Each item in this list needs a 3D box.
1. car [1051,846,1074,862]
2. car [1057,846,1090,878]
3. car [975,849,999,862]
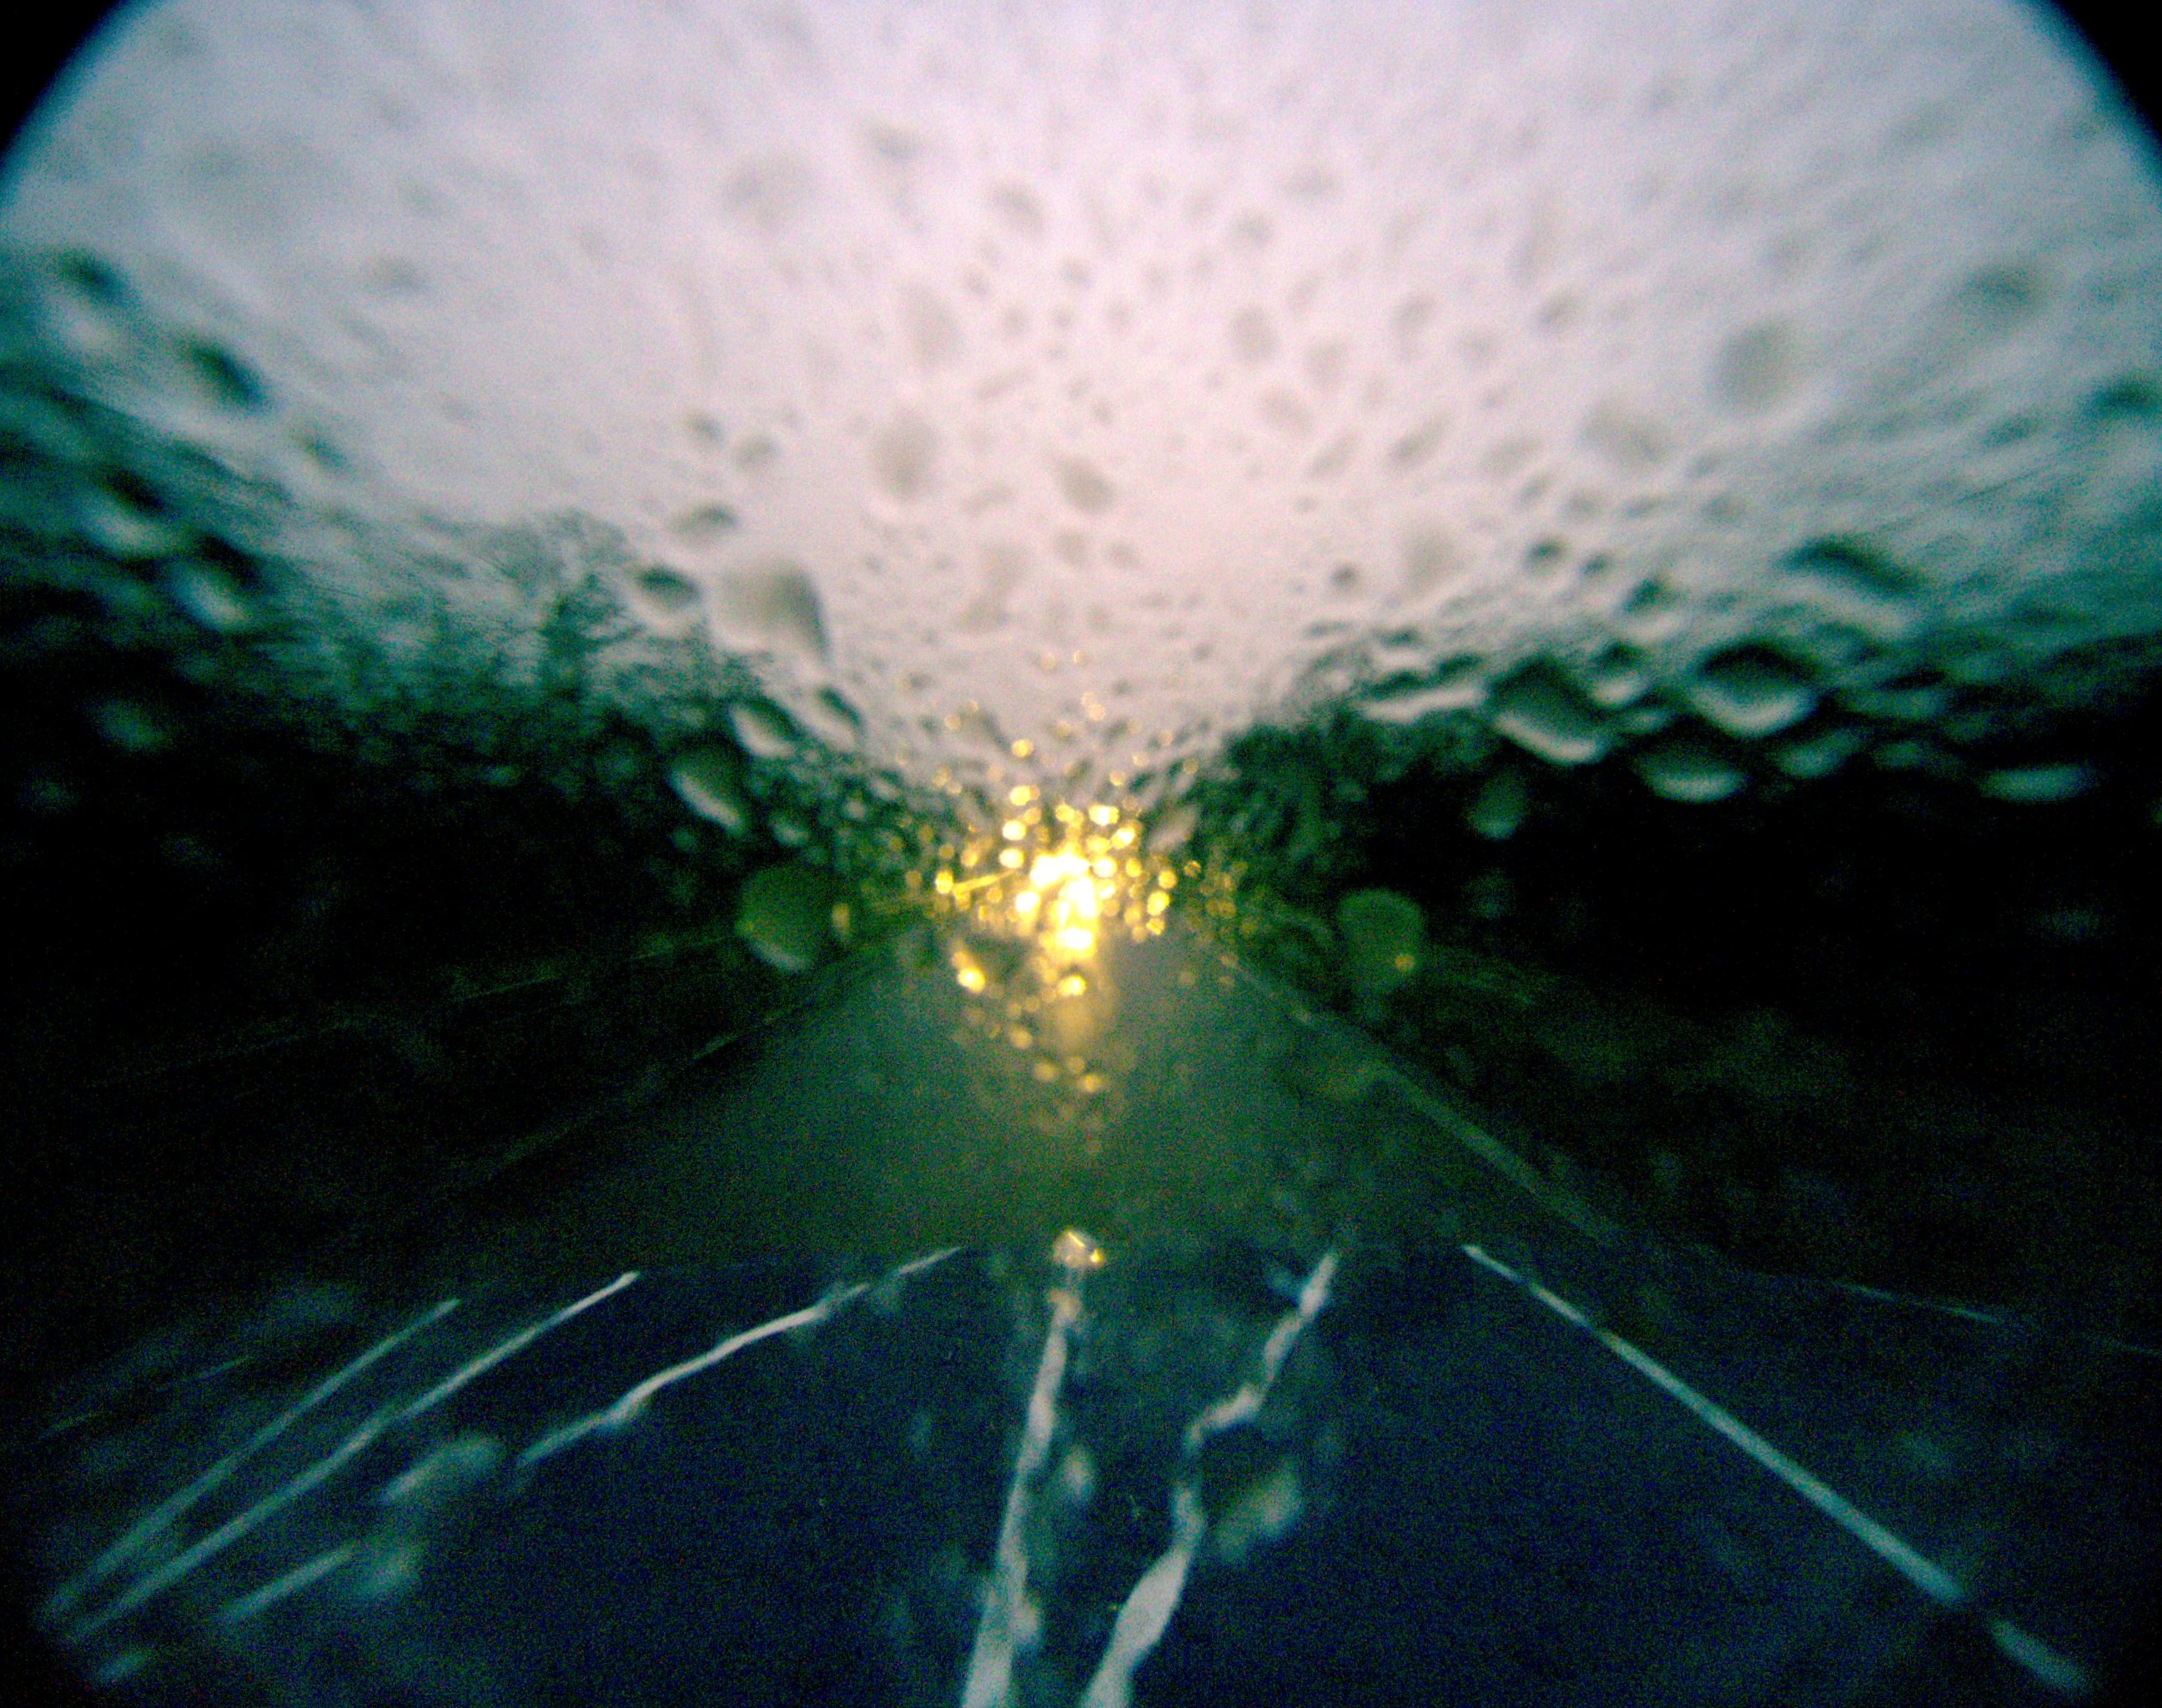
[{"bbox_3d":[-2.596,-0.013,103.937,2.001,2.002,4.223,-2,1,-17],"label":"car"},{"bbox_3d":[-0.463,0.580,50.639,1.998,2.001,3.965,1,-1,2],"label":"car"},{"bbox_3d":[-15.872,0.232,128.218,2.004,2.002,4.218,-2,1,-39],"label":"car"}]
